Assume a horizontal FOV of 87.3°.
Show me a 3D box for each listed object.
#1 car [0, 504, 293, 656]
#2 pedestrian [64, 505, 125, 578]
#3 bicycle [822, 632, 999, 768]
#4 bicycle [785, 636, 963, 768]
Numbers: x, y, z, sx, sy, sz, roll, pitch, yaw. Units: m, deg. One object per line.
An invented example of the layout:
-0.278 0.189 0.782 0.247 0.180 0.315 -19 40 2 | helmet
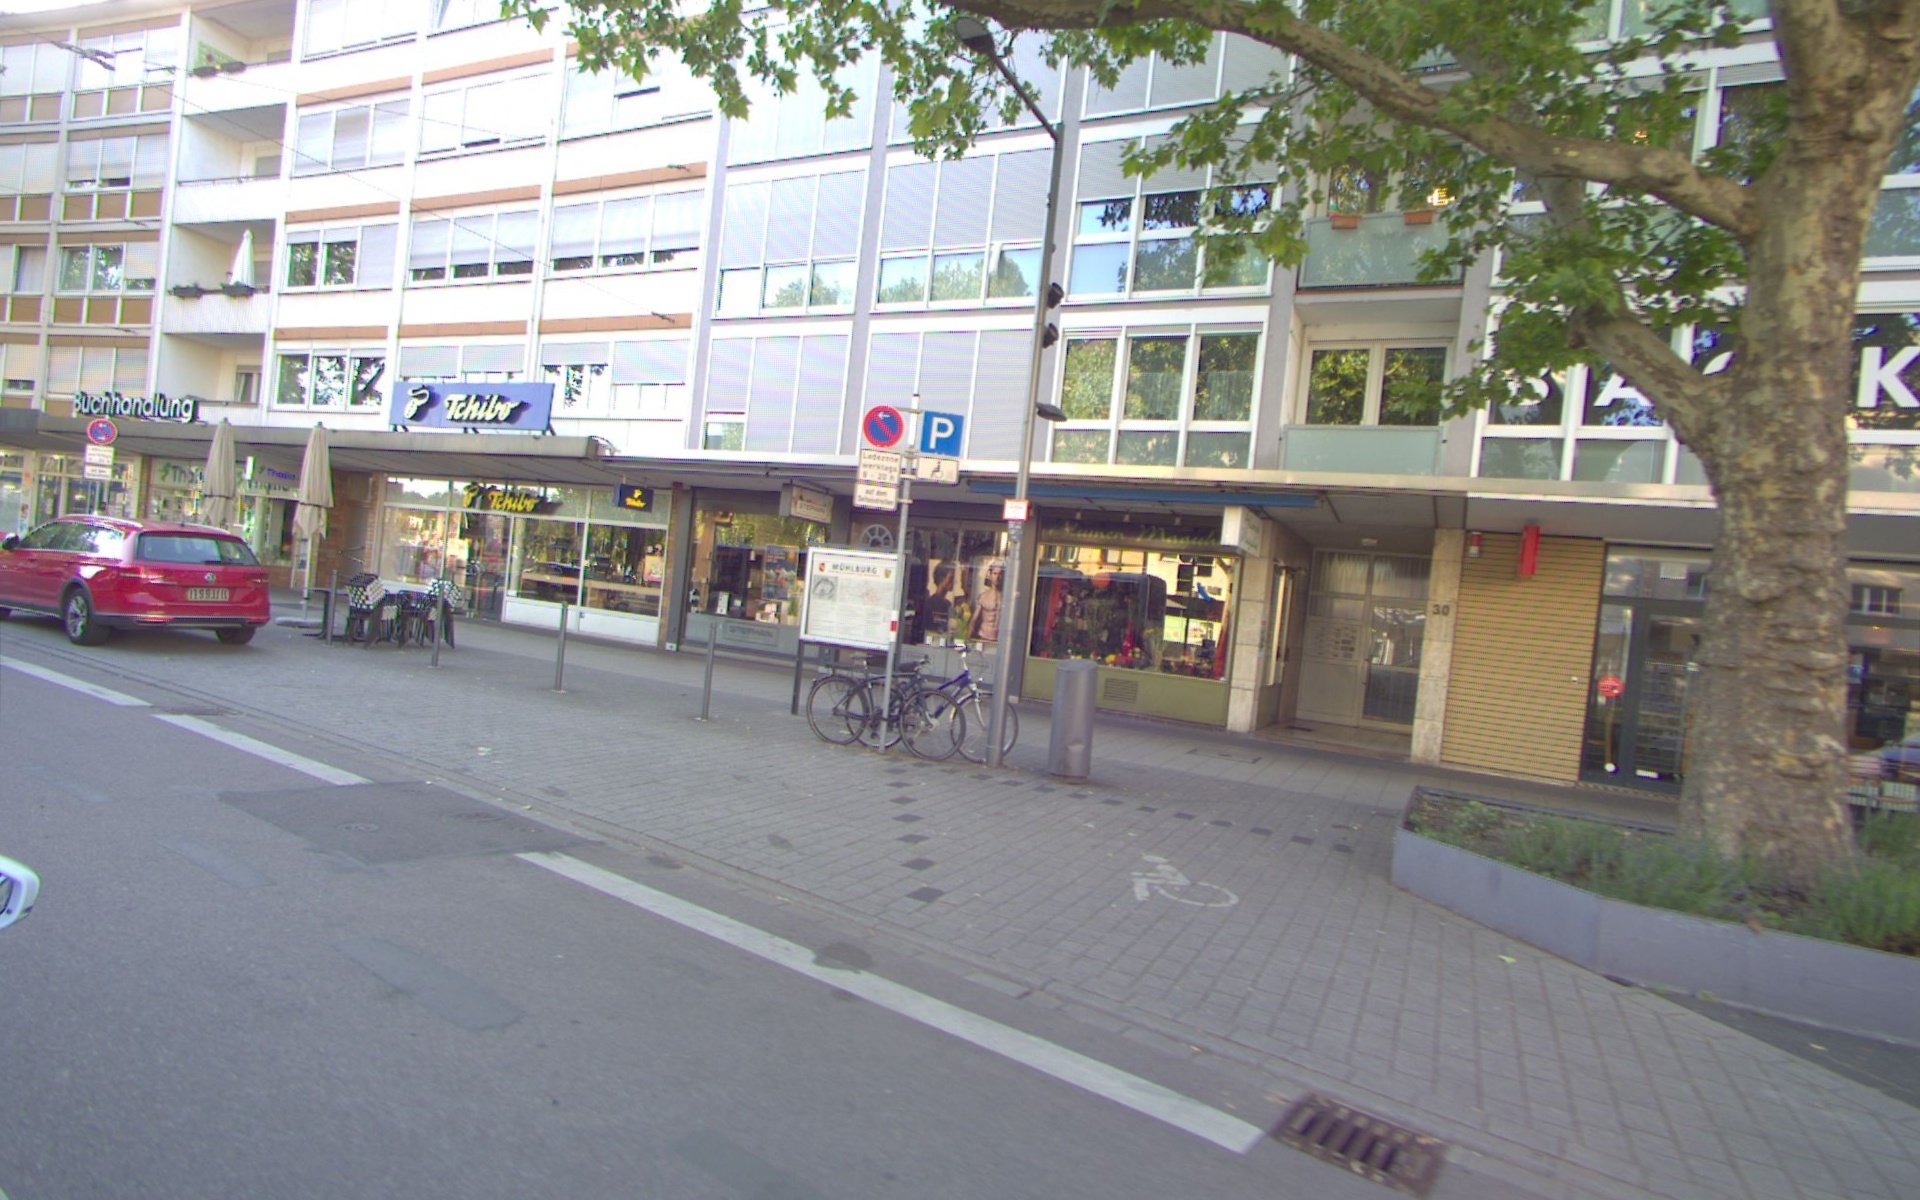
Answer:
-10.859 -0.313 12.981 4.488 1.516 1.780 6 2 28 | car
-20.145 -1.365 23.425 0.792 1.571 0.641 6 0 18 | pedestrian
-0.512 0.977 10.067 1.686 1.116 0.294 6 4 18 | bicycle
-0.856 0.979 9.879 1.686 1.055 0.294 6 4 18 | bicycle
